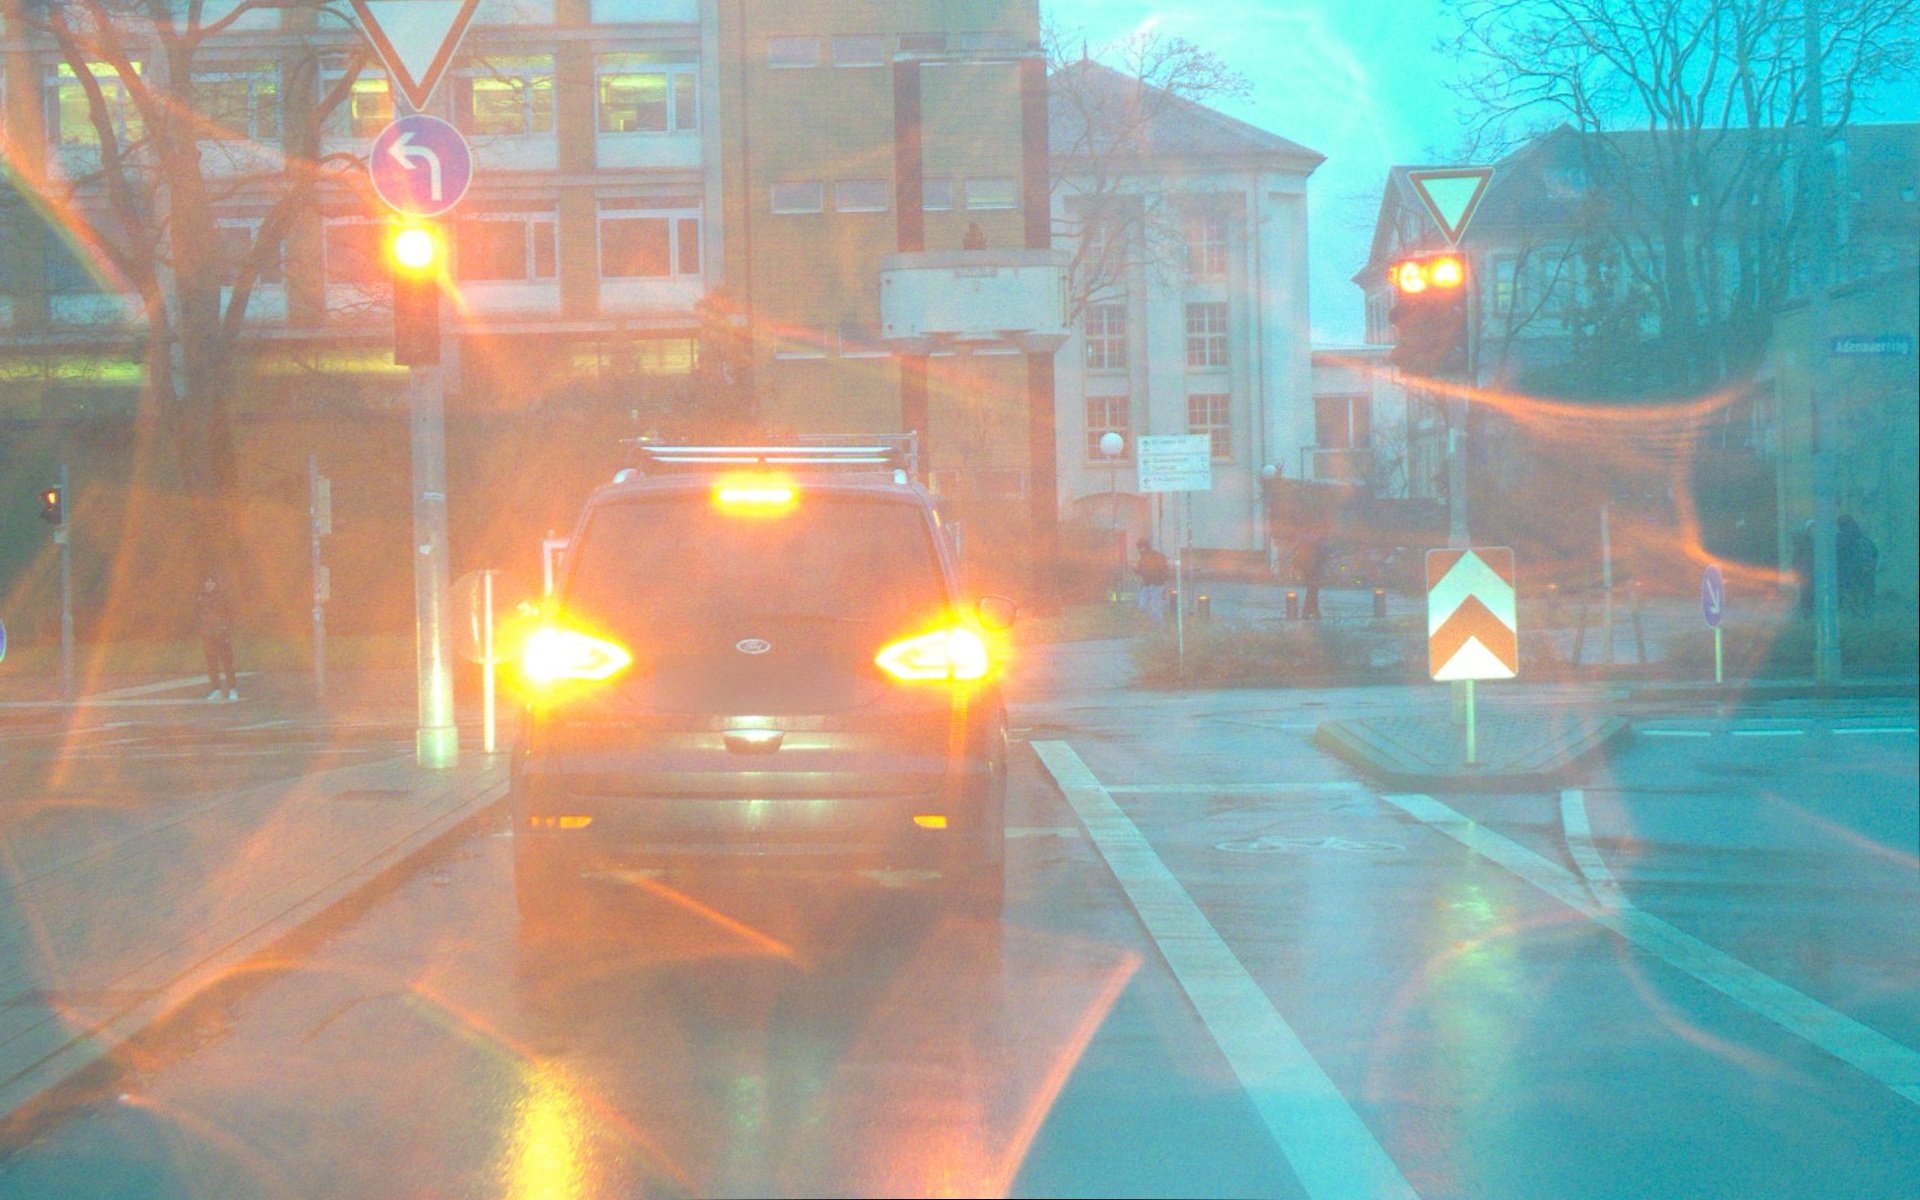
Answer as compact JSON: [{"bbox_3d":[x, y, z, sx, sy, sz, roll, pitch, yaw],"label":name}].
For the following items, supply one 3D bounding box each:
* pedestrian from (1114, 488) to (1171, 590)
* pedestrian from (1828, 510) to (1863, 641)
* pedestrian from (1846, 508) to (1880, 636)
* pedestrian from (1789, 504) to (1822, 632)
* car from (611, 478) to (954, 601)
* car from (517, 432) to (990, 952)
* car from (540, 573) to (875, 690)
[{"bbox_3d":[3.008,-1.004,56.688,0.684,1.655,0.677,1,-1,-30],"label":"pedestrian"},{"bbox_3d":[12.446,-0.341,48.299,0.458,1.832,0.438,0,-1,17],"label":"pedestrian"},{"bbox_3d":[12.933,-0.396,49.238,0.438,1.832,0.459,0,-1,18],"label":"pedestrian"},{"bbox_3d":[12.155,-0.456,49.410,0.438,1.832,0.459,0,-1,17],"label":"pedestrian"},{"bbox_3d":[-2.960,-1.008,58.018,5.548,2.017,1.999,0,-1,5],"label":"car"},{"bbox_3d":[-0.754,0.274,14.025,1.647,1.812,4.000,0,1,-1],"label":"car"},{"bbox_3d":[-3.069,0.384,42.027,3.791,1.393,1.564,0,-1,12],"label":"car"}]
